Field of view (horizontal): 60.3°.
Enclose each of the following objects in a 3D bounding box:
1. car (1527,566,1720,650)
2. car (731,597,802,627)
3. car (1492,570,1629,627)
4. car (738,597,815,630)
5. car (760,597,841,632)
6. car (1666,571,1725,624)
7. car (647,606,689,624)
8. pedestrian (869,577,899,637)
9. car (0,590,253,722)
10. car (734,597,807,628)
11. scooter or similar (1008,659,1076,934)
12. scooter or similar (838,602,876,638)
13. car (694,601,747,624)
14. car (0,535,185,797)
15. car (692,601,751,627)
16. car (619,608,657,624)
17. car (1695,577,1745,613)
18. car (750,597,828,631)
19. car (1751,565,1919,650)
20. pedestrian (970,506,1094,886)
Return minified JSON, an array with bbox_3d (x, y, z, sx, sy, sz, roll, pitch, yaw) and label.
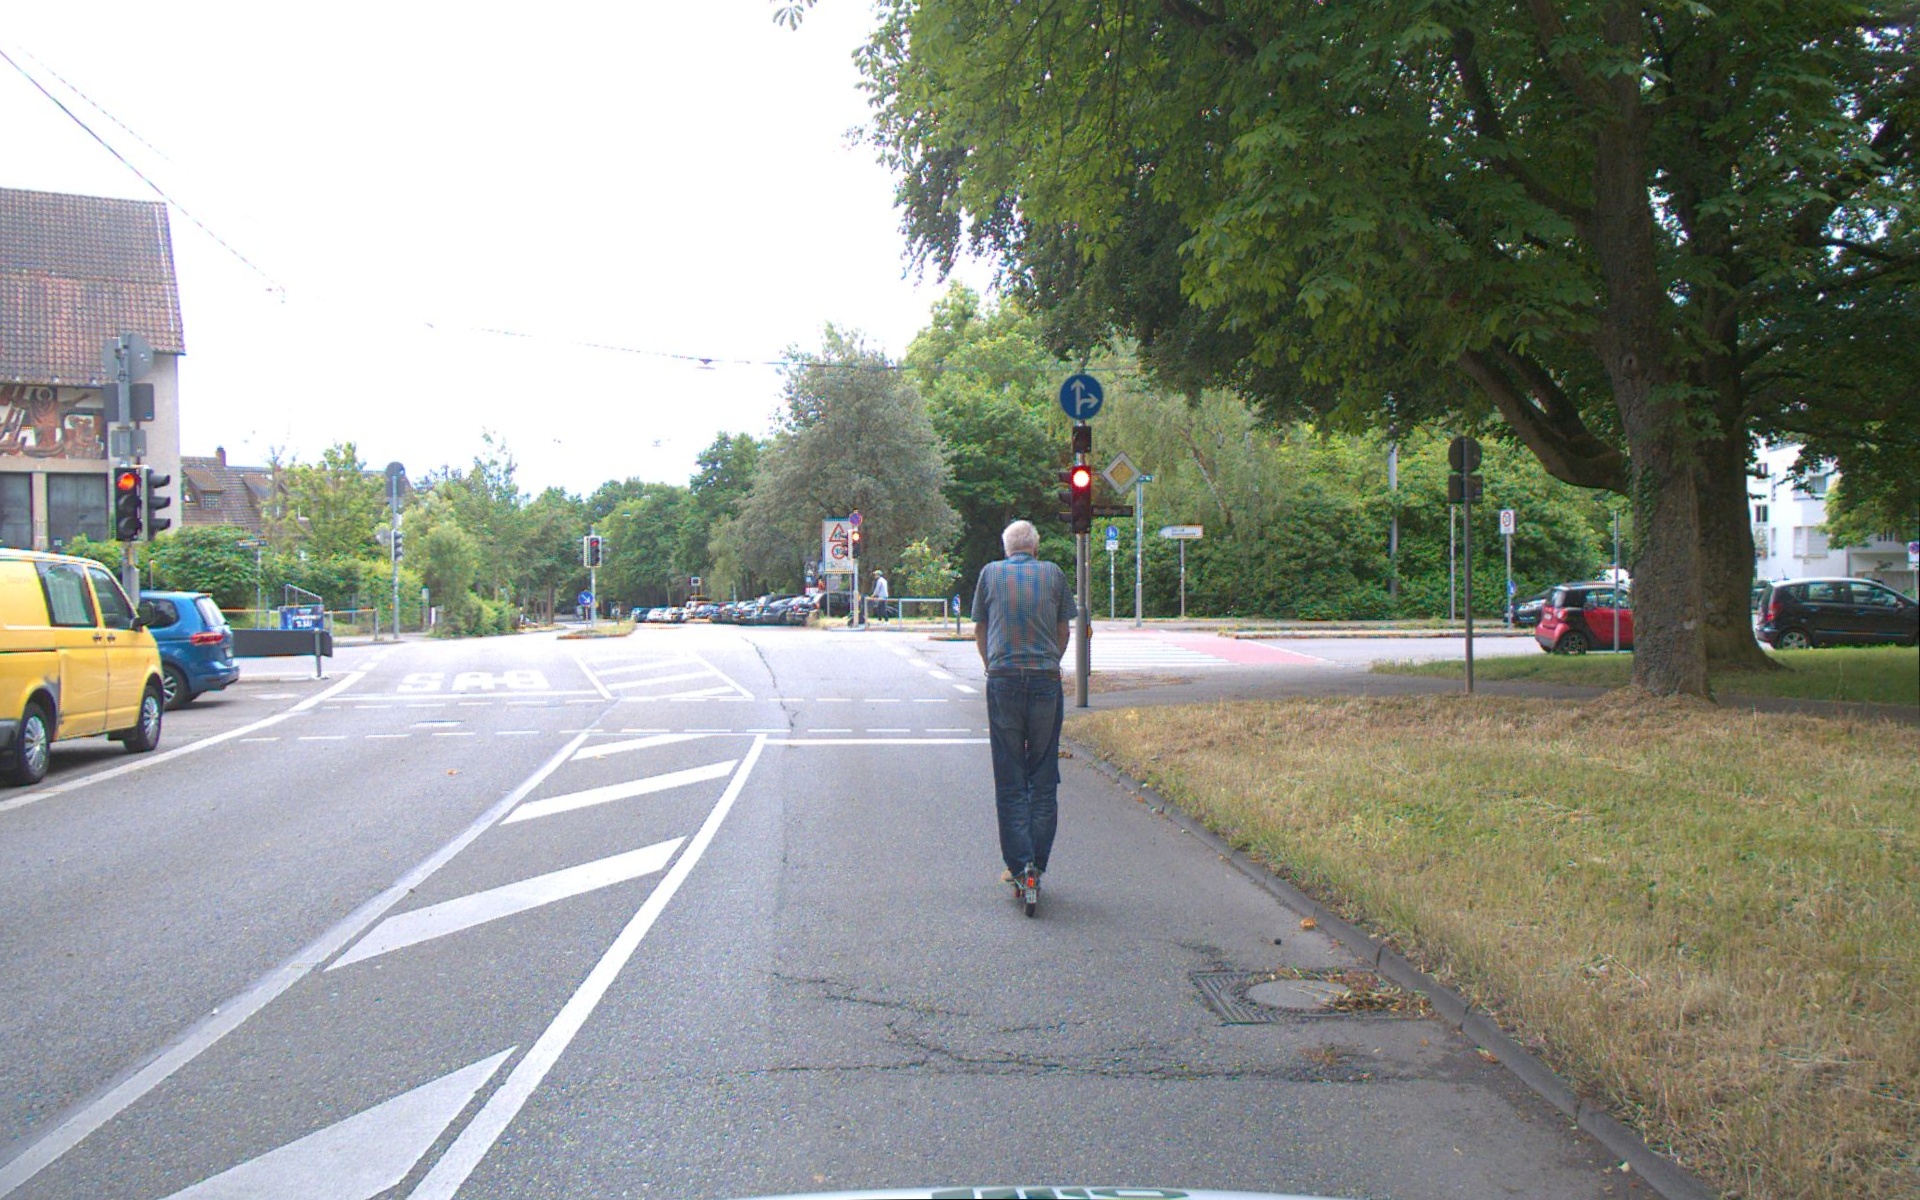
[{"bbox_3d":[14.241,0.166,35.613,3.445,1.639,1.729,-2,0,3],"label":"car"},{"bbox_3d":[-11.448,0.709,98.007,3.793,1.639,1.714,-2,0,-25],"label":"car"},{"bbox_3d":[17.790,-0.048,49.115,3.444,1.557,1.729,-2,0,4],"label":"car"},{"bbox_3d":[-10.021,0.707,90.337,3.793,1.639,1.714,-2,0,-25],"label":"car"},{"bbox_3d":[-8.258,0.728,85.833,3.795,1.639,1.714,-2,0,-26],"label":"car"},{"bbox_3d":[24.869,-0.111,55.889,1.688,1.639,3.851,-2,0,25],"label":"car"},{"bbox_3d":[-29.493,1.500,166.979,3.793,1.639,1.714,-2,0,-25],"label":"car"},{"bbox_3d":[-2.462,0.219,53.418,0.868,1.895,0.572,-1,0,-13],"label":"pedestrian"},{"bbox_3d":[-12.057,0.752,22.904,3.925,1.639,1.809,-2,0,-18],"label":"car"},{"bbox_3d":[-10.947,0.697,95.614,3.793,1.639,1.714,-2,0,-25],"label":"car"},{"bbox_3d":[0.389,0.915,8.115,0.276,1.199,1.177,-1,0,1],"label":"scooter or similar"},{"bbox_3d":[-3.315,0.637,53.136,1.090,1.100,0.575,-1,0,-18],"label":"scooter or similar"},{"bbox_3d":[-18.930,0.967,130.534,3.793,1.639,1.714,-2,0,-25],"label":"car"},{"bbox_3d":[-8.756,0.530,15.029,1.849,2.049,4.556,-1,0,-9],"label":"car"},{"bbox_3d":[-16.938,0.976,117.644,3.793,1.639,1.714,-2,0,-25],"label":"car"},{"bbox_3d":[-35.726,1.792,183.418,3.793,1.639,1.714,-2,0,-25],"label":"car"},{"bbox_3d":[36.910,-0.245,80.389,1.686,1.639,3.856,-2,0,18],"label":"car"},{"bbox_3d":[-9.117,0.737,88.339,3.793,1.639,1.714,-2,0,-25],"label":"car"},{"bbox_3d":[18.581,0.149,34.344,3.764,1.639,1.728,-2,0,24],"label":"car"},{"bbox_3d":[0.352,0.470,8.299,0.561,1.845,0.420,-1,0,-1],"label":"pedestrian"}]
